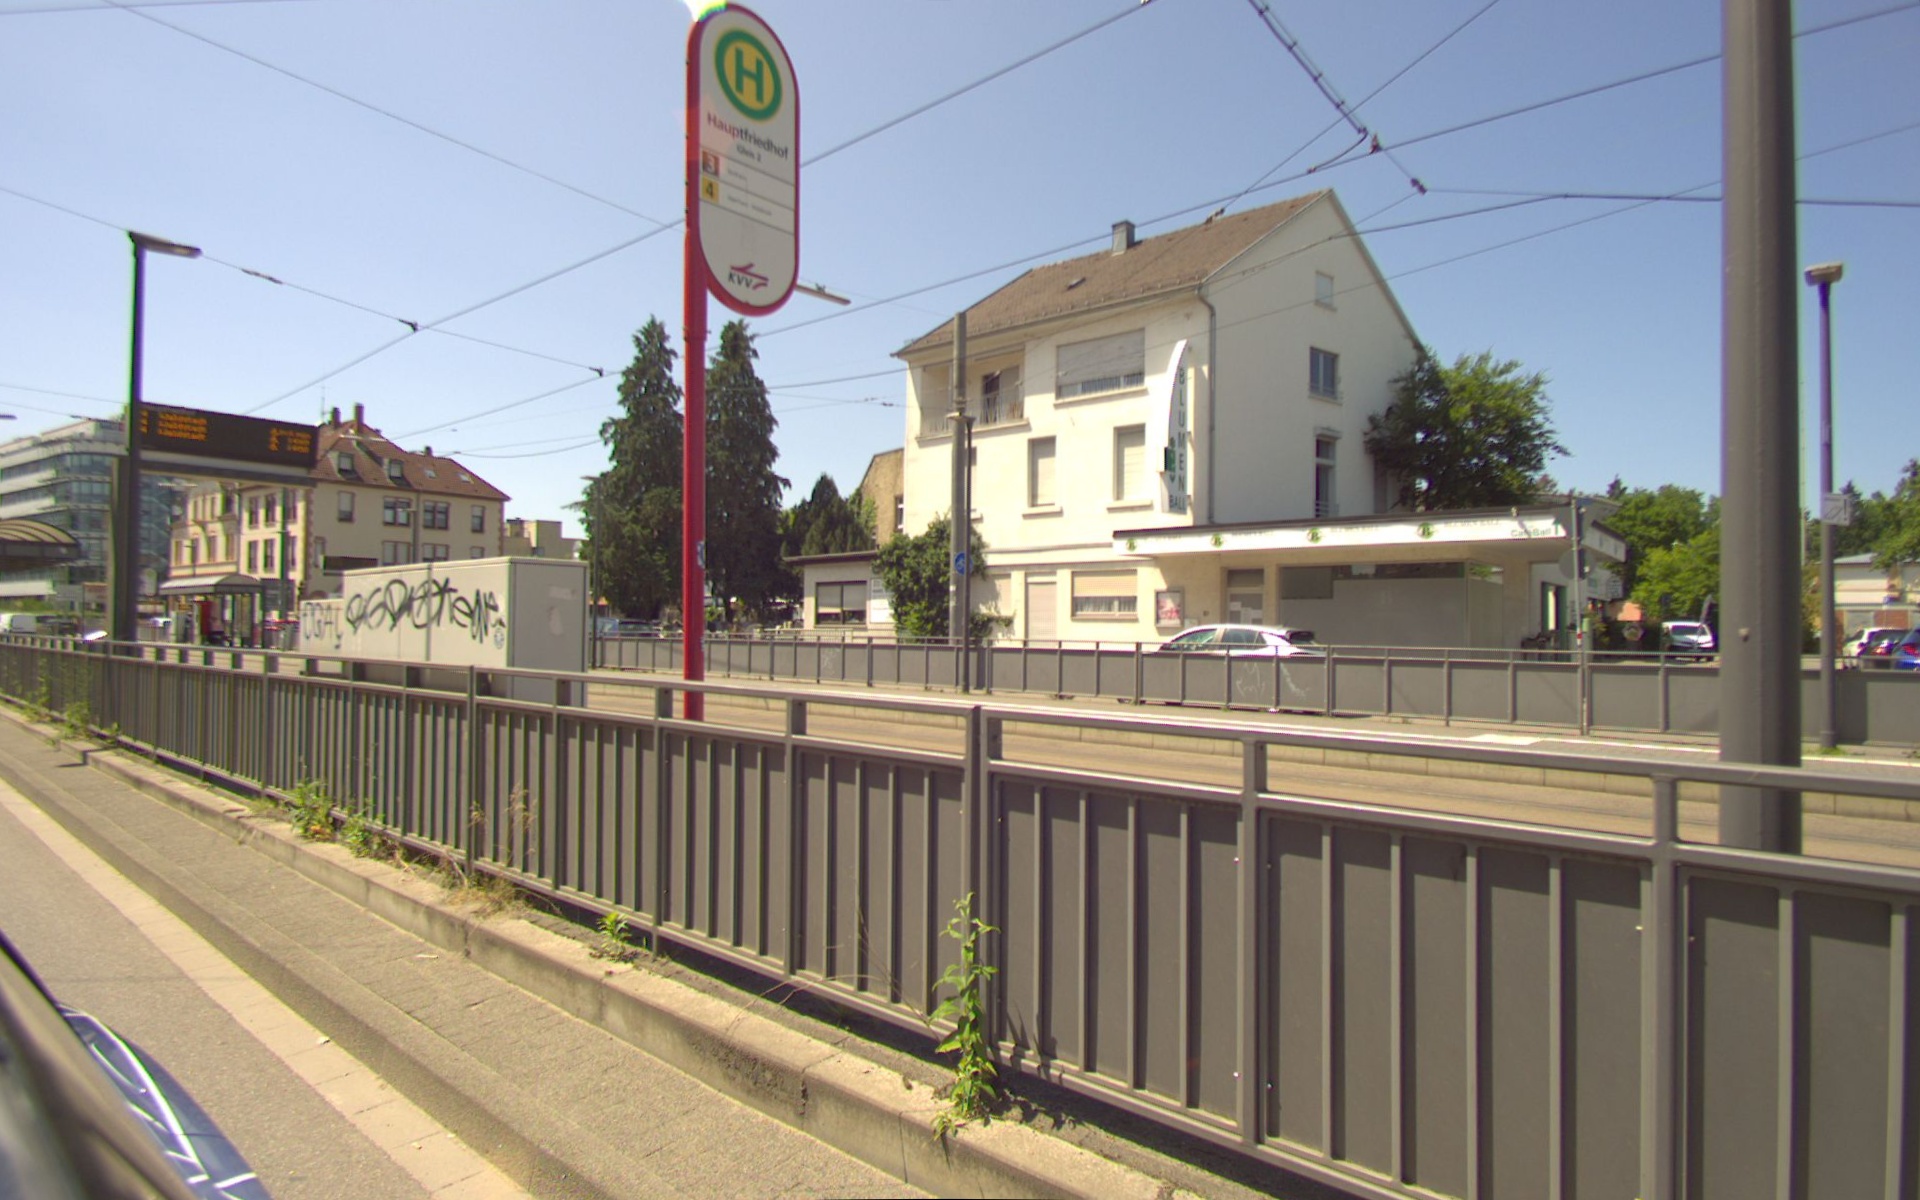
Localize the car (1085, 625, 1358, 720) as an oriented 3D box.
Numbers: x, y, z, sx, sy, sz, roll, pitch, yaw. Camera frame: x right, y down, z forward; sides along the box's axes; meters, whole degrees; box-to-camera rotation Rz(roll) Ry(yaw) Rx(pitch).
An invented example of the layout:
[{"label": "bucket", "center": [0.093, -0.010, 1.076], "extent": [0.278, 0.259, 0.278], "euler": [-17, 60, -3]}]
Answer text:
[{"label": "car", "center": [4.254, 1.135, 16.863], "extent": [4.052, 1.373, 1.797], "euler": [-1, -4, 44]}]

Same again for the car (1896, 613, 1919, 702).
[{"label": "car", "center": [18.652, 1.012, 18.651], "extent": [3.899, 1.463, 1.825], "euler": [-1, 0, -44]}]

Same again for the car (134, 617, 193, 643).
[{"label": "car", "center": [-47.108, 1.759, 59.851], "extent": [4.619, 1.479, 1.800], "euler": [-1, -2, 40]}]

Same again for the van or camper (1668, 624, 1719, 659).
[{"label": "van or camper", "center": [34.635, 1.951, 47.882], "extent": [1.686, 1.578, 3.784], "euler": [-1, -2, 32]}]

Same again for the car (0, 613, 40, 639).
[{"label": "car", "center": [-70.897, 1.932, 75.704], "extent": [4.684, 1.830, 1.841], "euler": [0, -3, 33]}]

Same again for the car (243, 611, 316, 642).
[{"label": "car", "center": [-32.939, 1.282, 48.968], "extent": [4.171, 1.406, 1.800], "euler": [-1, -2, 39]}]

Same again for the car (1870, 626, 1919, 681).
[{"label": "car", "center": [25.297, 1.417, 26.882], "extent": [1.644, 1.380, 3.760], "euler": [-1, -3, 42]}]

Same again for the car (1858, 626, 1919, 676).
[{"label": "car", "center": [29.189, 1.586, 31.603], "extent": [1.644, 1.457, 3.760], "euler": [-1, -3, 41]}]
